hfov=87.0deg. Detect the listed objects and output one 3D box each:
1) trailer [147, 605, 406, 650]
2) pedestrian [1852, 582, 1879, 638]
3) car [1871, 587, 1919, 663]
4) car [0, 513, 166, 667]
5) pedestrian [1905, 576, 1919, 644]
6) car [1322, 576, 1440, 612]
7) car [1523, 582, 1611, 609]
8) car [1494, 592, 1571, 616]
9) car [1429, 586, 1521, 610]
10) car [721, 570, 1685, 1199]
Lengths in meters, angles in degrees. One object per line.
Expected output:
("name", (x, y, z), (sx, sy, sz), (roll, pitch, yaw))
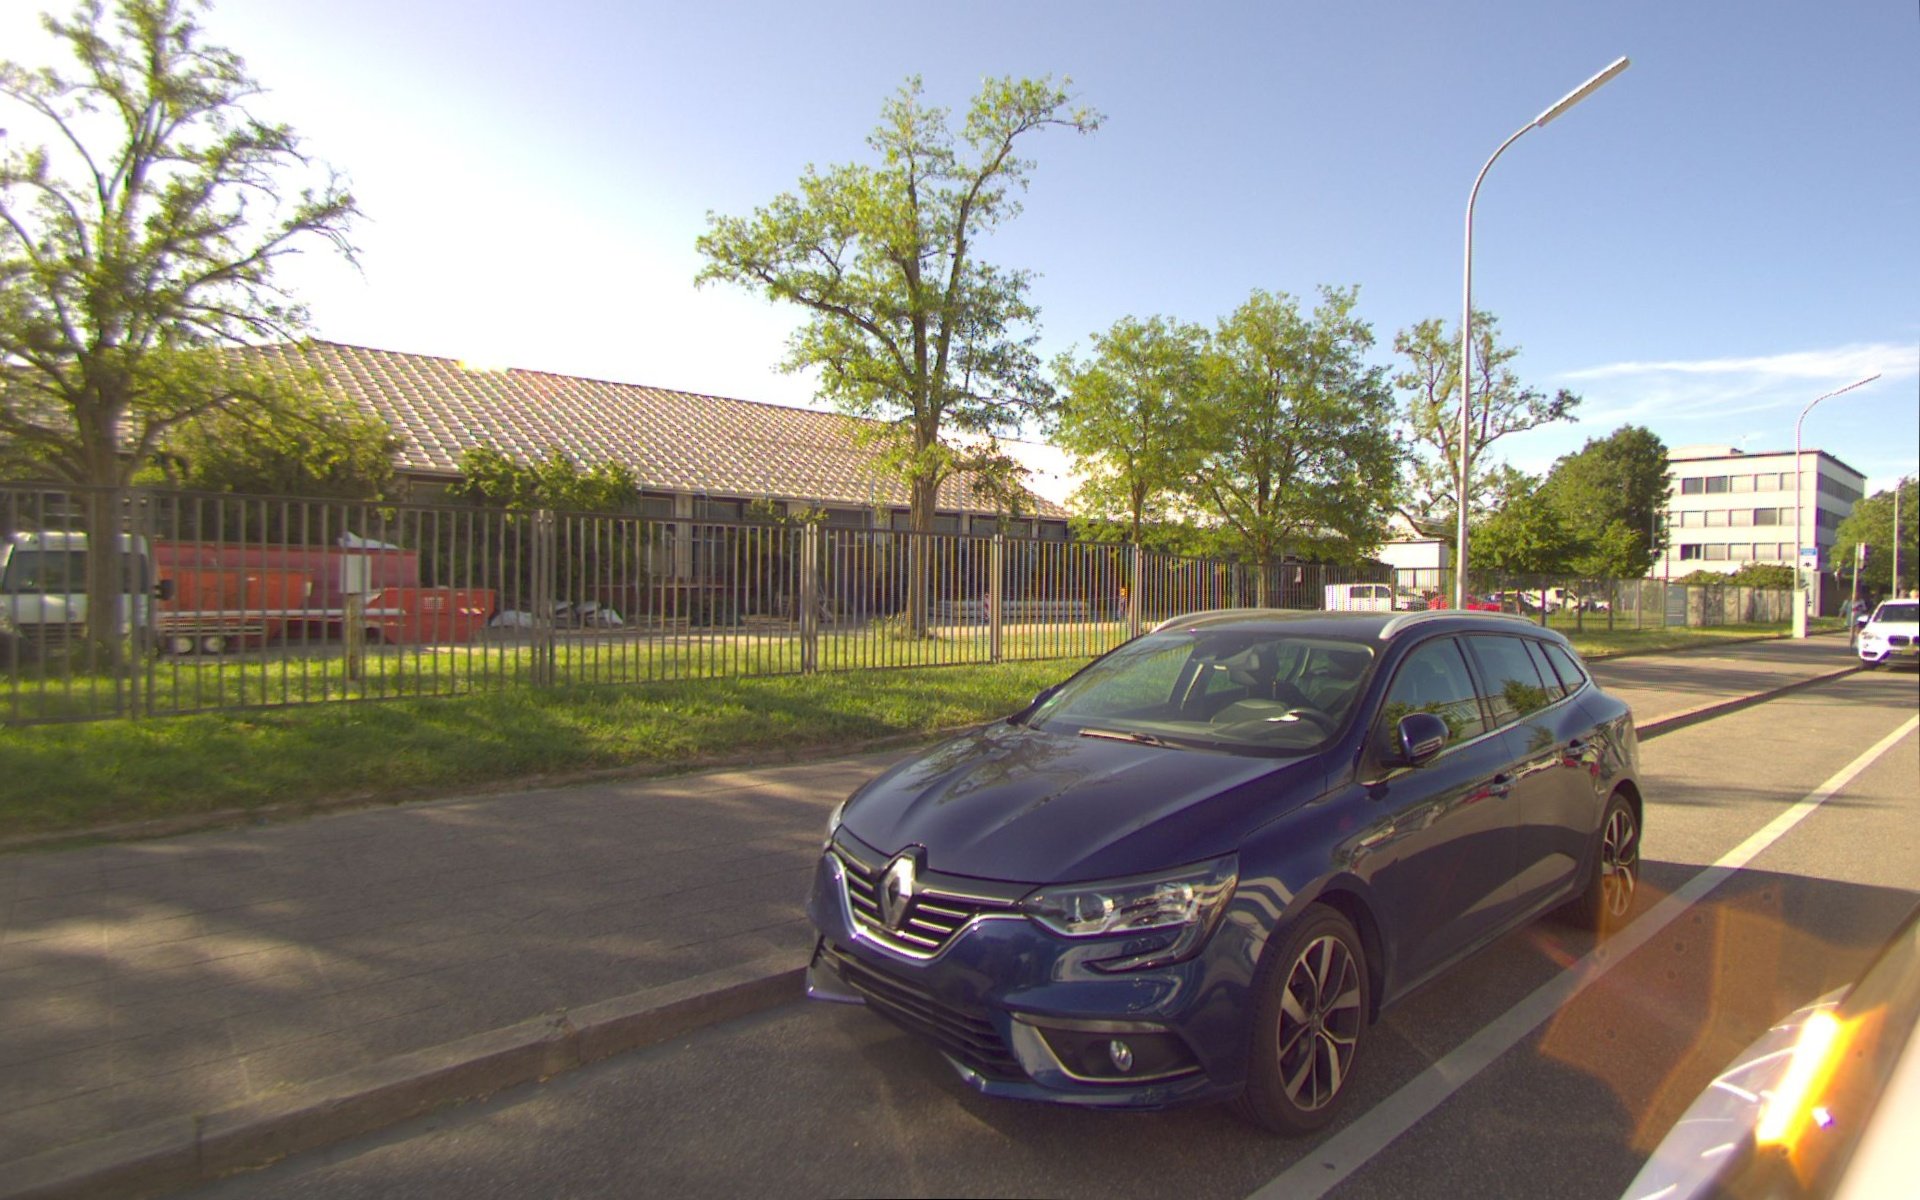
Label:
("trailer", (-16.315, 0.610, 24.455), (5.010, 0.931, 1.905), (0, 1, -33))
("pedestrian", (26.663, 0.290, 29.796), (0.672, 1.632, 0.539), (-1, -1, -44))
("car", (21.945, 0.531, 22.762), (4.190, 1.608, 1.814), (0, 0, -43))
("car", (-14.938, -0.180, 17.156), (1.962, 2.230, 5.302), (1, 0, -35))
("pedestrian", (24.521, 0.249, 25.819), (0.514, 1.730, 0.521), (-1, -1, -42))
("car", (20.603, -0.269, 49.717), (2.061, 1.665, 4.970), (0, 0, -43))
("car", (39.911, -0.318, 66.621), (4.629, 1.689, 1.968), (2, 1, 44))
("car", (35.948, 0.252, 63.582), (1.647, 1.397, 3.892), (0, 1, -44))
("car", (28.313, -0.109, 55.681), (1.798, 1.268, 4.146), (0, 0, -43))
("car", (1.319, 0.657, 4.223), (4.139, 1.471, 1.821), (0, 1, -41))
